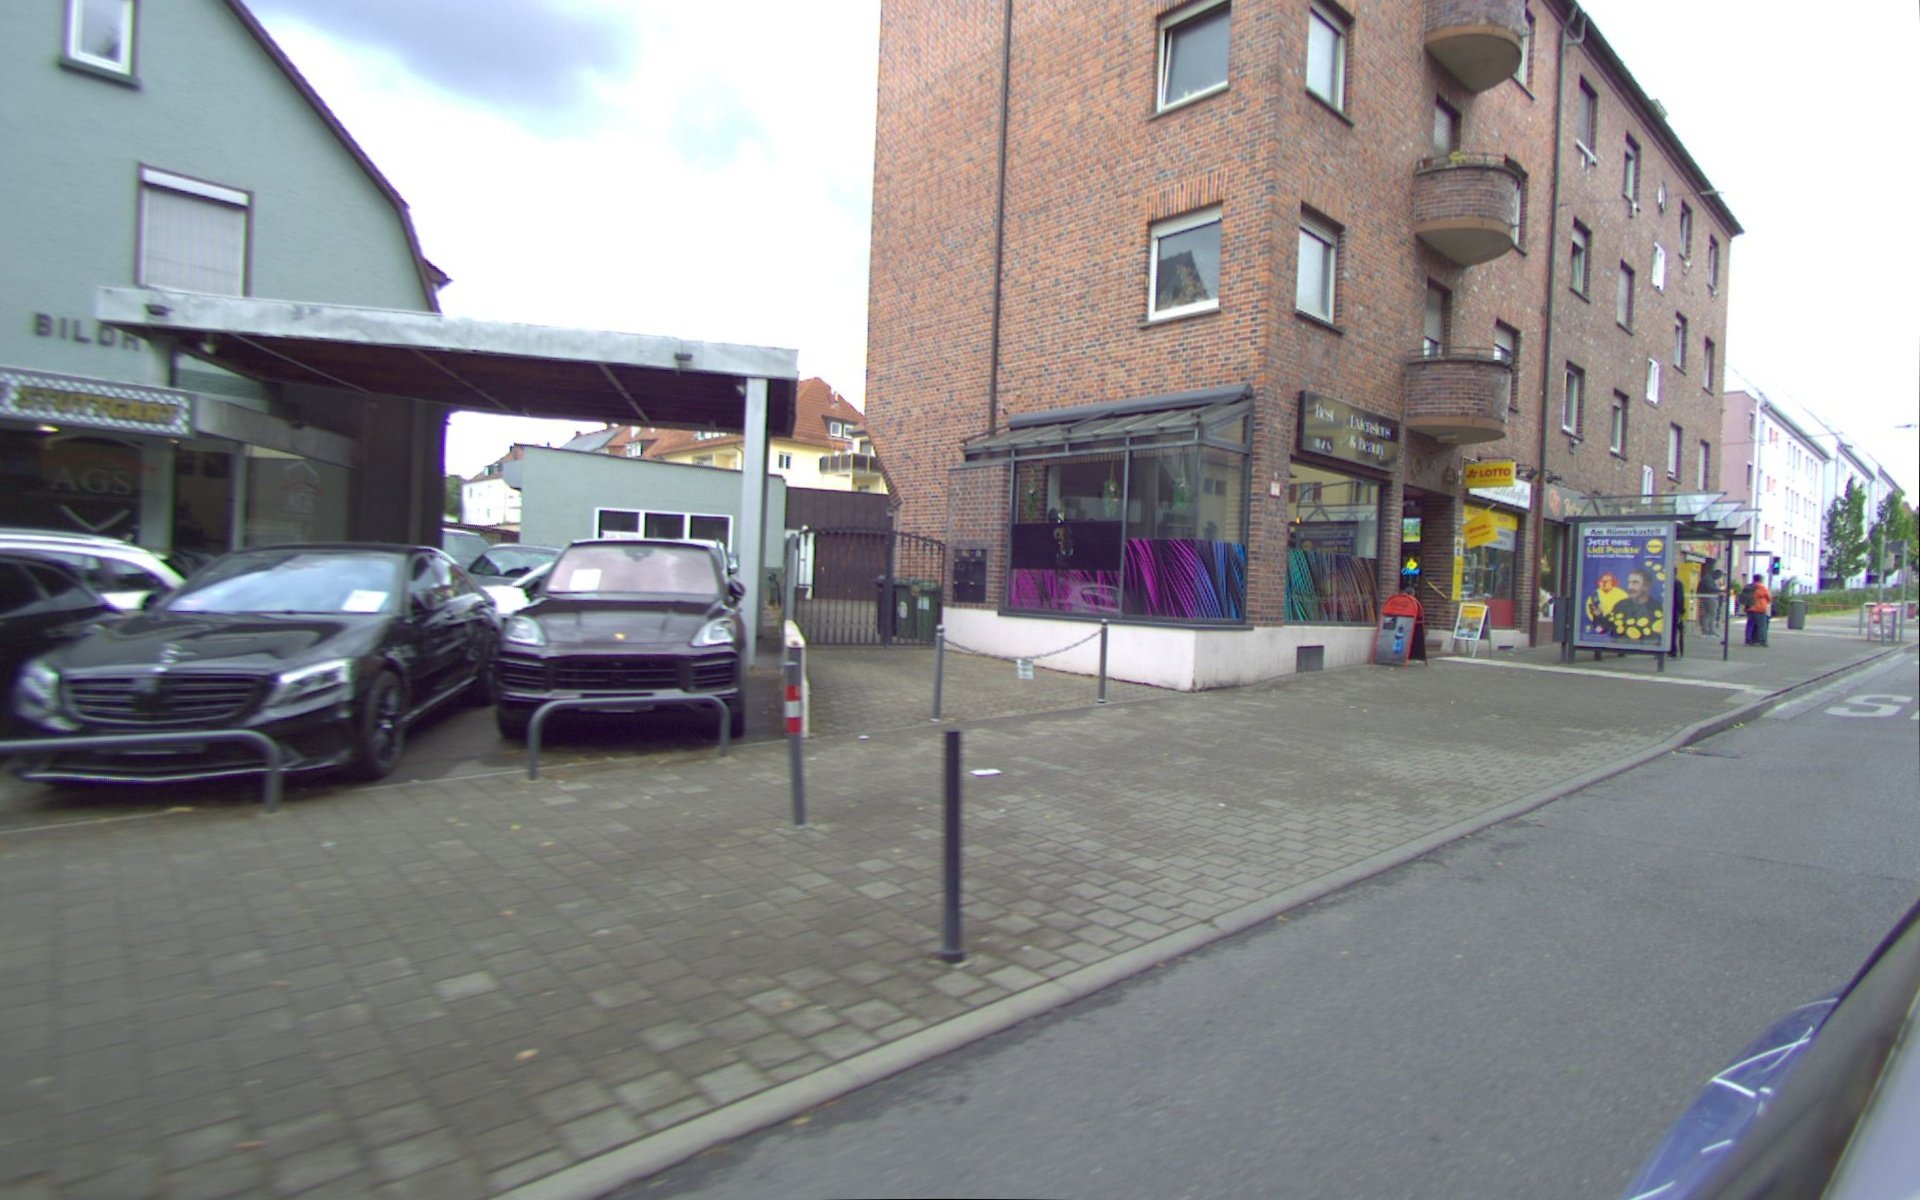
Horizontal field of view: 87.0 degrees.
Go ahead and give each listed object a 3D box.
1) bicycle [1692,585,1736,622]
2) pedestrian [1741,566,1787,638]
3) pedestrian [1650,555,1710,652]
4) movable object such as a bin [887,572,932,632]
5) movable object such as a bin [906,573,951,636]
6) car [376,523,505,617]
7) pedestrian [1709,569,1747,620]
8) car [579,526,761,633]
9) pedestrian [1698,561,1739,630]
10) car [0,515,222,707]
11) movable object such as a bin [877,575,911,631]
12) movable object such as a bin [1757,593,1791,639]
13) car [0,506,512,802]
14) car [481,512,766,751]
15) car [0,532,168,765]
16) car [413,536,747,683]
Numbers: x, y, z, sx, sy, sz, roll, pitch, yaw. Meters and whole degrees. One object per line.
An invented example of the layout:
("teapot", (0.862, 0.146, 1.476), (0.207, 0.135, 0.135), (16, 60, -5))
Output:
("bicycle", (25.790, 0.089, 34.592), (2.351, 1.208, 0.761), (-1, 2, -43))
("pedestrian", (18.731, 0.039, 23.579), (0.666, 1.657, 0.568), (0, 1, -22))
("pedestrian", (13.302, 0.053, 18.701), (0.749, 1.749, 0.672), (0, 1, -37))
("movable object such as a bin", (-0.894, 0.028, 17.918), (0.563, 1.046, 0.550), (0, 1, -41))
("movable object such as a bin", (-0.539, 0.070, 17.494), (0.563, 1.046, 0.526), (0, 1, -41))
("car", (-11.282, -0.659, 21.862), (1.688, 1.845, 3.886), (0, 2, -40))
("pedestrian", (25.968, -0.190, 34.228), (0.759, 1.676, 0.790), (0, 4, -42))
("car", (-5.217, -0.385, 17.906), (1.688, 1.686, 3.886), (0, 2, -40))
("pedestrian", (19.974, -0.135, 26.658), (0.763, 1.771, 0.649), (0, 1, -37))
("car", (-9.231, 0.072, 9.291), (3.825, 1.686, 1.715), (-1, 2, -43))
("movable object such as a bin", (-1.199, 0.047, 18.314), (0.459, 0.997, 0.400), (0, 1, -41))
("movable object such as a bin", (19.025, 0.369, 23.656), (0.402, 1.069, 0.455), (0, 1, -22))
("car", (-5.015, 0.211, 7.859), (1.958, 1.559, 4.930), (0, 2, -13))
("car", (-3.040, 0.073, 9.763), (1.958, 1.693, 4.932), (1, 4, -15))
("car", (-7.075, 0.314, 6.217), (1.816, 1.511, 4.930), (0, 2, -17))
("car", (-4.957, 0.065, 13.500), (3.825, 1.686, 1.715), (-1, 2, -43))
